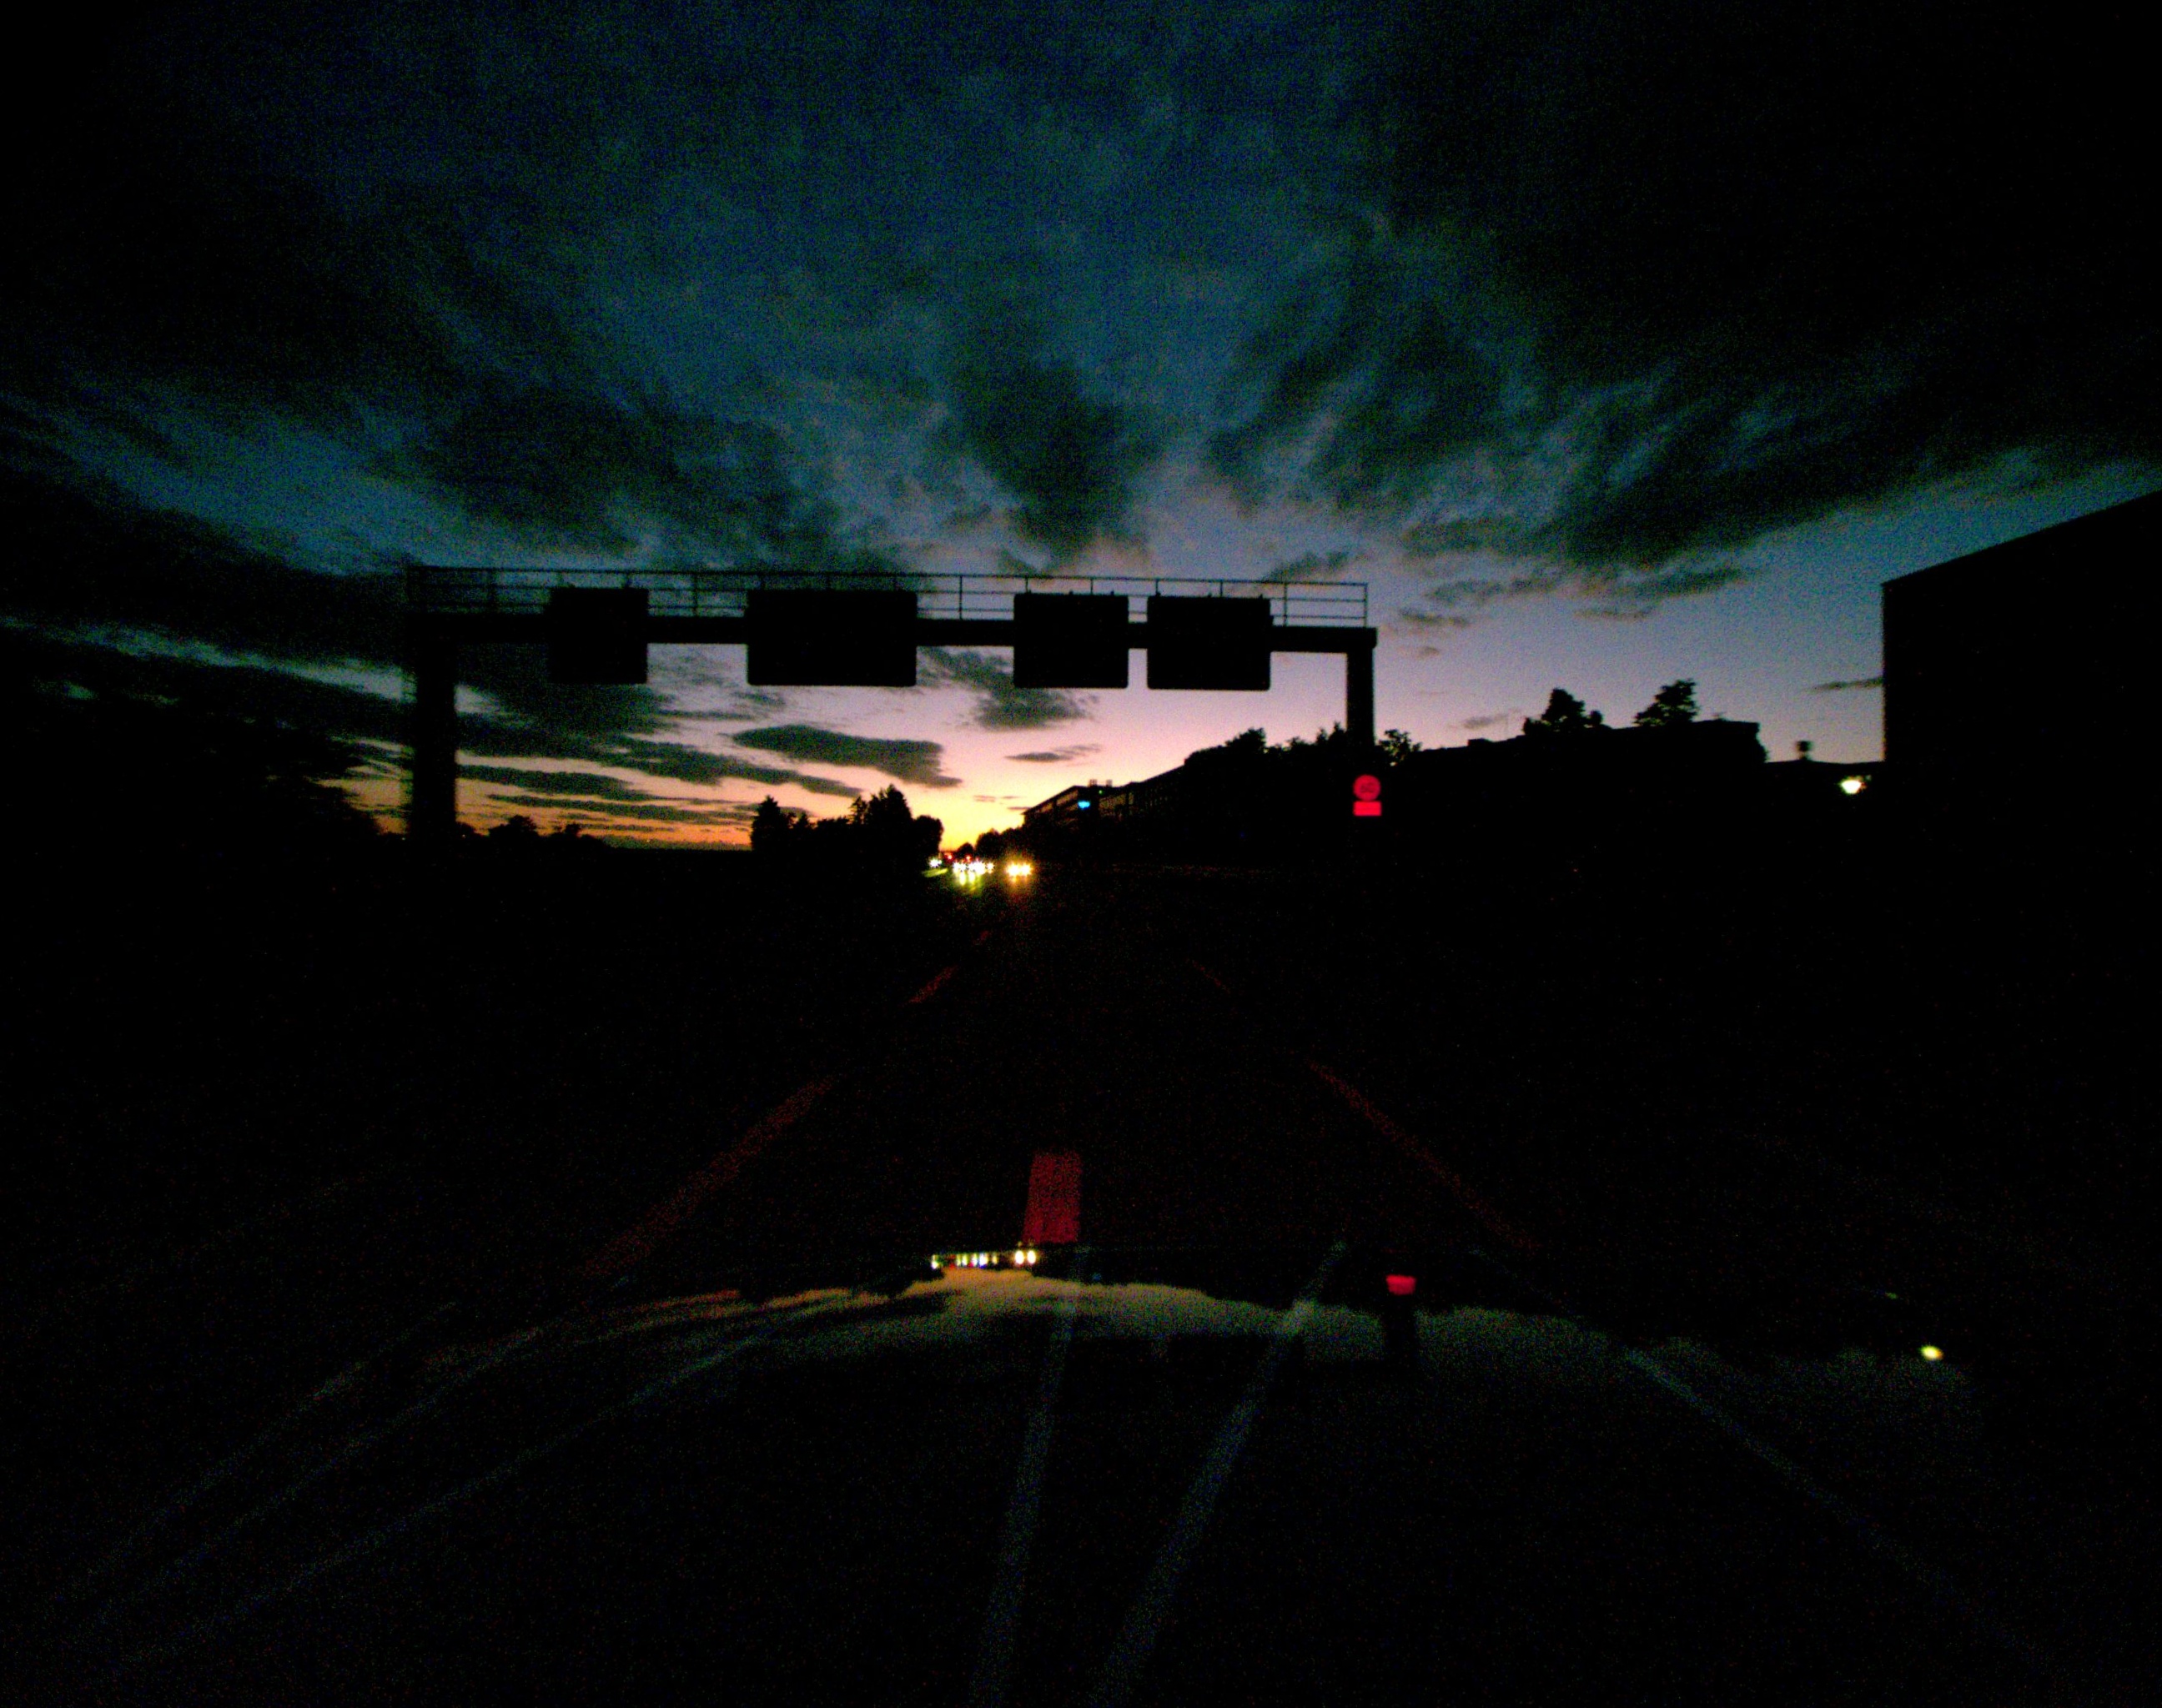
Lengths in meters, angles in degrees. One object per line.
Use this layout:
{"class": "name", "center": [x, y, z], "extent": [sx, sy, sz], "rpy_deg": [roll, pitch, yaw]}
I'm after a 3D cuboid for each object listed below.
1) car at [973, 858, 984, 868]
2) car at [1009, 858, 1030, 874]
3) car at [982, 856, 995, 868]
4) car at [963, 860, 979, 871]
{"class": "car", "center": [-19.503, 1.725, 144.248], "extent": [1.834, 1.739, 3.847], "rpy_deg": [-3, 0, -9]}
{"class": "car", "center": [-6.076, 1.178, 74.631], "extent": [1.757, 1.447, 3.800], "rpy_deg": [-3, 0, -9]}
{"class": "car", "center": [-15.839, 1.393, 129.932], "extent": [1.862, 2.002, 3.998], "rpy_deg": [-2, 0, -4]}
{"class": "car", "center": [-16.274, 1.664, 112.647], "extent": [1.999, 1.574, 3.998], "rpy_deg": [-2, 0, -4]}
